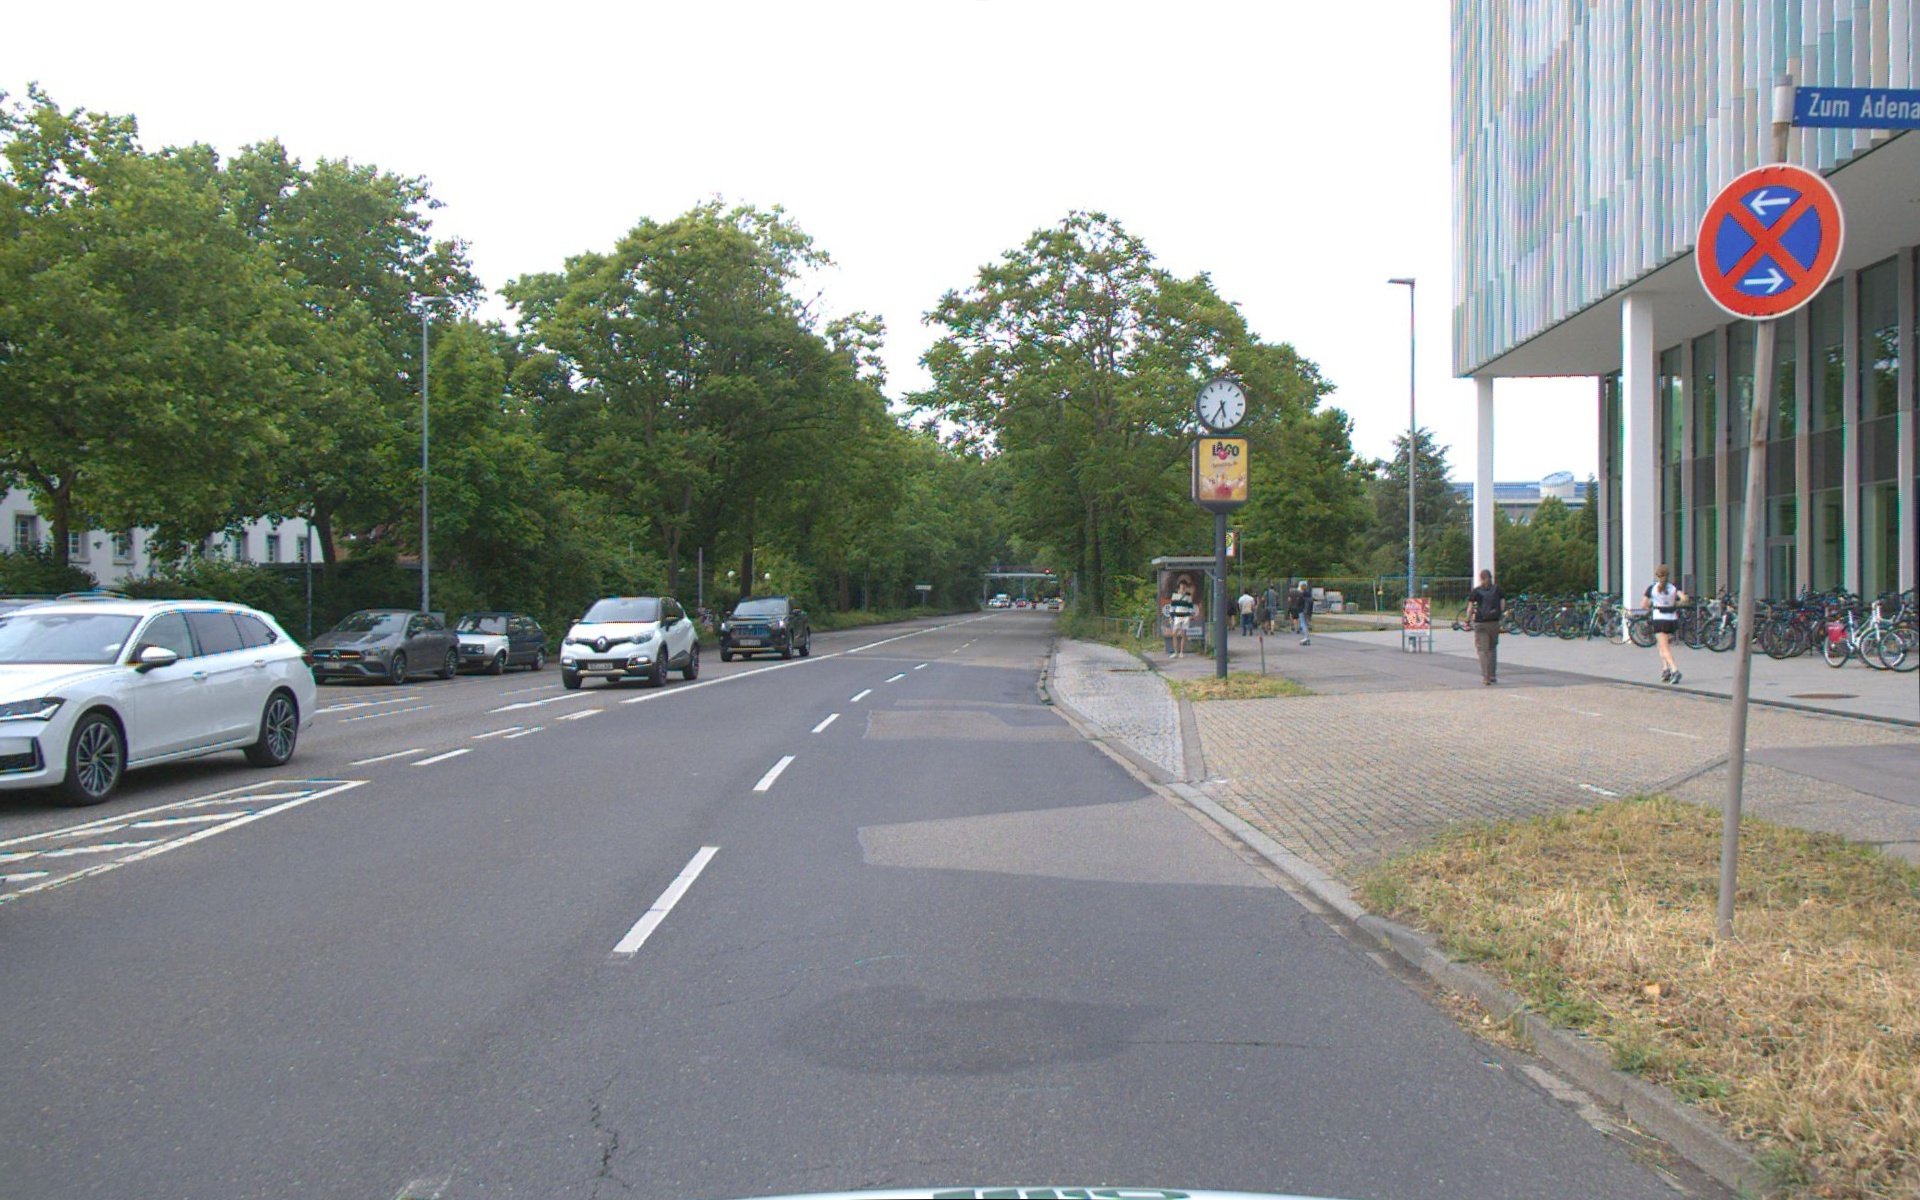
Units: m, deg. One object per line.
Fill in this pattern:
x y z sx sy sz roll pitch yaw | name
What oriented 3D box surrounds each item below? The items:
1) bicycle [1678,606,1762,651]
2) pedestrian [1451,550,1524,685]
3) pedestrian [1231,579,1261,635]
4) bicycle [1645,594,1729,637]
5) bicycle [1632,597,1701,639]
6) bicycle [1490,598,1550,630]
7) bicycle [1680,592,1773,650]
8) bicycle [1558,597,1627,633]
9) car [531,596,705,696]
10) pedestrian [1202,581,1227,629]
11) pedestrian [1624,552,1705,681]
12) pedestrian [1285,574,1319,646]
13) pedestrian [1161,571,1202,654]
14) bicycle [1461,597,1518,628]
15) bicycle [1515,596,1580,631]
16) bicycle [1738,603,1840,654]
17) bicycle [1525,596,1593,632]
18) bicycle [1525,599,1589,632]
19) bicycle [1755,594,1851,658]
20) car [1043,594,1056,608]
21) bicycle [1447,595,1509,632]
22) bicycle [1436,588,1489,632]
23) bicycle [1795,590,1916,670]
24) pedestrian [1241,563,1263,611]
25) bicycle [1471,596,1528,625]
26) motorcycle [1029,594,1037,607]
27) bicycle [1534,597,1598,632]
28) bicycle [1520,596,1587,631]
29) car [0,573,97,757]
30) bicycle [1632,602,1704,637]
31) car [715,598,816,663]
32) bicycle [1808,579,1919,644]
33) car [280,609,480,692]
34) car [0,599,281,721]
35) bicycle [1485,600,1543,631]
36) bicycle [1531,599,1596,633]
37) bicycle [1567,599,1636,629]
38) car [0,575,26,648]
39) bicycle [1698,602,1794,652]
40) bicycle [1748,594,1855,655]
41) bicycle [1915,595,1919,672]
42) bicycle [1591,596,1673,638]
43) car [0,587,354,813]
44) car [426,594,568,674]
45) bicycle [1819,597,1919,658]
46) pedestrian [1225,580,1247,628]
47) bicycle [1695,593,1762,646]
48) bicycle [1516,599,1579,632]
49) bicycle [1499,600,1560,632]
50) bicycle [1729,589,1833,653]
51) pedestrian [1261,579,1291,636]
16.083 0.599 35.002 1.572 0.912 0.366 -1 0 4 | bicycle
8.254 0.274 25.923 0.825 2.049 0.895 -2 0 5 | pedestrian
10.639 0.260 61.555 0.906 2.049 1.039 -1 0 -1 | pedestrian
16.436 0.347 37.422 1.655 0.963 0.517 -1 0 10 | bicycle
15.475 0.393 36.255 1.256 0.890 0.556 -2 0 4 | bicycle
16.656 0.419 49.244 1.572 0.890 0.556 -2 0 4 | bicycle
15.789 0.424 34.098 1.609 1.121 0.573 -2 0 7 | bicycle
15.803 0.382 41.363 1.500 0.848 0.556 -2 0 4 | bicycle
-5.981 0.763 29.418 1.952 1.574 4.182 -2 0 3 | car
10.987 0.207 71.404 0.906 2.049 1.039 -1 0 -1 | pedestrian
10.425 0.245 24.498 0.825 1.868 0.895 -1 0 2 | pedestrian
9.903 0.279 47.967 0.825 2.049 0.895 -1 0 4 | pedestrian
5.651 0.318 42.292 0.893 2.048 0.854 -2 2 2 | pedestrian
16.267 0.389 50.805 1.572 0.890 0.556 -2 0 4 | bicycle
15.993 0.365 45.028 1.572 0.890 0.556 -2 0 4 | bicycle
15.230 0.526 30.420 1.572 0.890 0.556 1 0 6 | bicycle
15.709 0.363 43.420 1.572 0.890 0.556 -2 0 4 | bicycle
16.621 0.434 46.059 1.570 0.900 0.516 -1 0 3 | bicycle
14.903 0.462 29.266 1.371 1.062 0.559 -3 0 4 | bicycle
13.099 0.156 241.716 1.805 2.049 4.002 1 0 4 | car
16.531 0.422 52.789 1.757 1.100 0.626 -3 0 2 | bicycle
16.573 0.322 54.569 1.612 1.356 0.463 -3 -1 17 | bicycle
13.893 0.453 25.732 0.623 1.160 2.200 -3 0 -1 | bicycle
12.646 -0.566 71.558 0.806 2.049 0.720 -1 0 3 | pedestrian
16.830 0.325 51.625 1.573 0.890 0.556 -1 0 0 | bicycle
10.848 0.086 245.606 0.969 1.970 2.670 1 0 4 | motorcycle
15.659 0.375 42.765 1.424 0.854 0.556 -2 0 4 | bicycle
15.949 0.367 44.446 1.572 0.890 0.556 -2 0 4 | bicycle
-10.046 0.625 14.925 1.952 1.723 4.470 -1 0 4 | car
16.285 0.453 38.046 1.404 0.759 0.556 -2 0 4 | bicycle
-5.083 0.770 43.751 1.863 1.621 4.518 -1 0 4 | car
17.247 0.230 31.359 0.644 1.164 1.954 -3 0 -45 | bicycle
-11.608 0.967 33.472 1.834 1.449 4.732 2 0 7 | car
-12.345 0.826 25.097 1.819 1.635 4.595 1 0 5 | car
16.684 0.465 49.814 1.572 0.890 0.556 -1 0 4 | bicycle
16.590 0.430 45.492 1.572 0.890 0.556 -2 0 4 | bicycle
16.291 0.352 42.014 1.527 0.729 0.556 -2 0 4 | bicycle
-23.420 0.219 37.501 3.511 1.629 1.652 1 0 1 | car
15.477 0.524 32.589 1.572 0.890 0.556 -3 -1 6 | bicycle
15.162 0.440 29.820 1.572 0.999 0.556 -3 0 4 | bicycle
14.202 0.464 22.901 0.596 1.099 1.959 -3 0 -8 | bicycle
15.035 0.373 37.030 1.572 0.890 0.556 -2 0 4 | bicycle
-6.963 0.660 13.616 1.864 1.491 4.913 1 0 4 | car
-10.744 0.756 38.688 1.952 1.719 4.002 1 0 3 | car
15.653 0.474 28.302 1.572 0.952 0.569 -3 0 14 | bicycle
11.884 0.167 71.255 0.807 2.049 0.720 -1 0 -1 | pedestrian
16.303 0.411 35.103 1.172 1.068 0.435 -2 0 10 | bicycle
16.702 0.448 47.015 1.572 0.890 0.556 -2 0 4 | bicycle
16.601 0.456 48.213 1.572 0.890 0.556 -2 0 4 | bicycle
15.523 0.403 31.309 1.609 1.110 0.573 -3 -1 12 | bicycle
11.686 0.273 61.194 0.906 2.049 1.039 -1 0 -1 | pedestrian
